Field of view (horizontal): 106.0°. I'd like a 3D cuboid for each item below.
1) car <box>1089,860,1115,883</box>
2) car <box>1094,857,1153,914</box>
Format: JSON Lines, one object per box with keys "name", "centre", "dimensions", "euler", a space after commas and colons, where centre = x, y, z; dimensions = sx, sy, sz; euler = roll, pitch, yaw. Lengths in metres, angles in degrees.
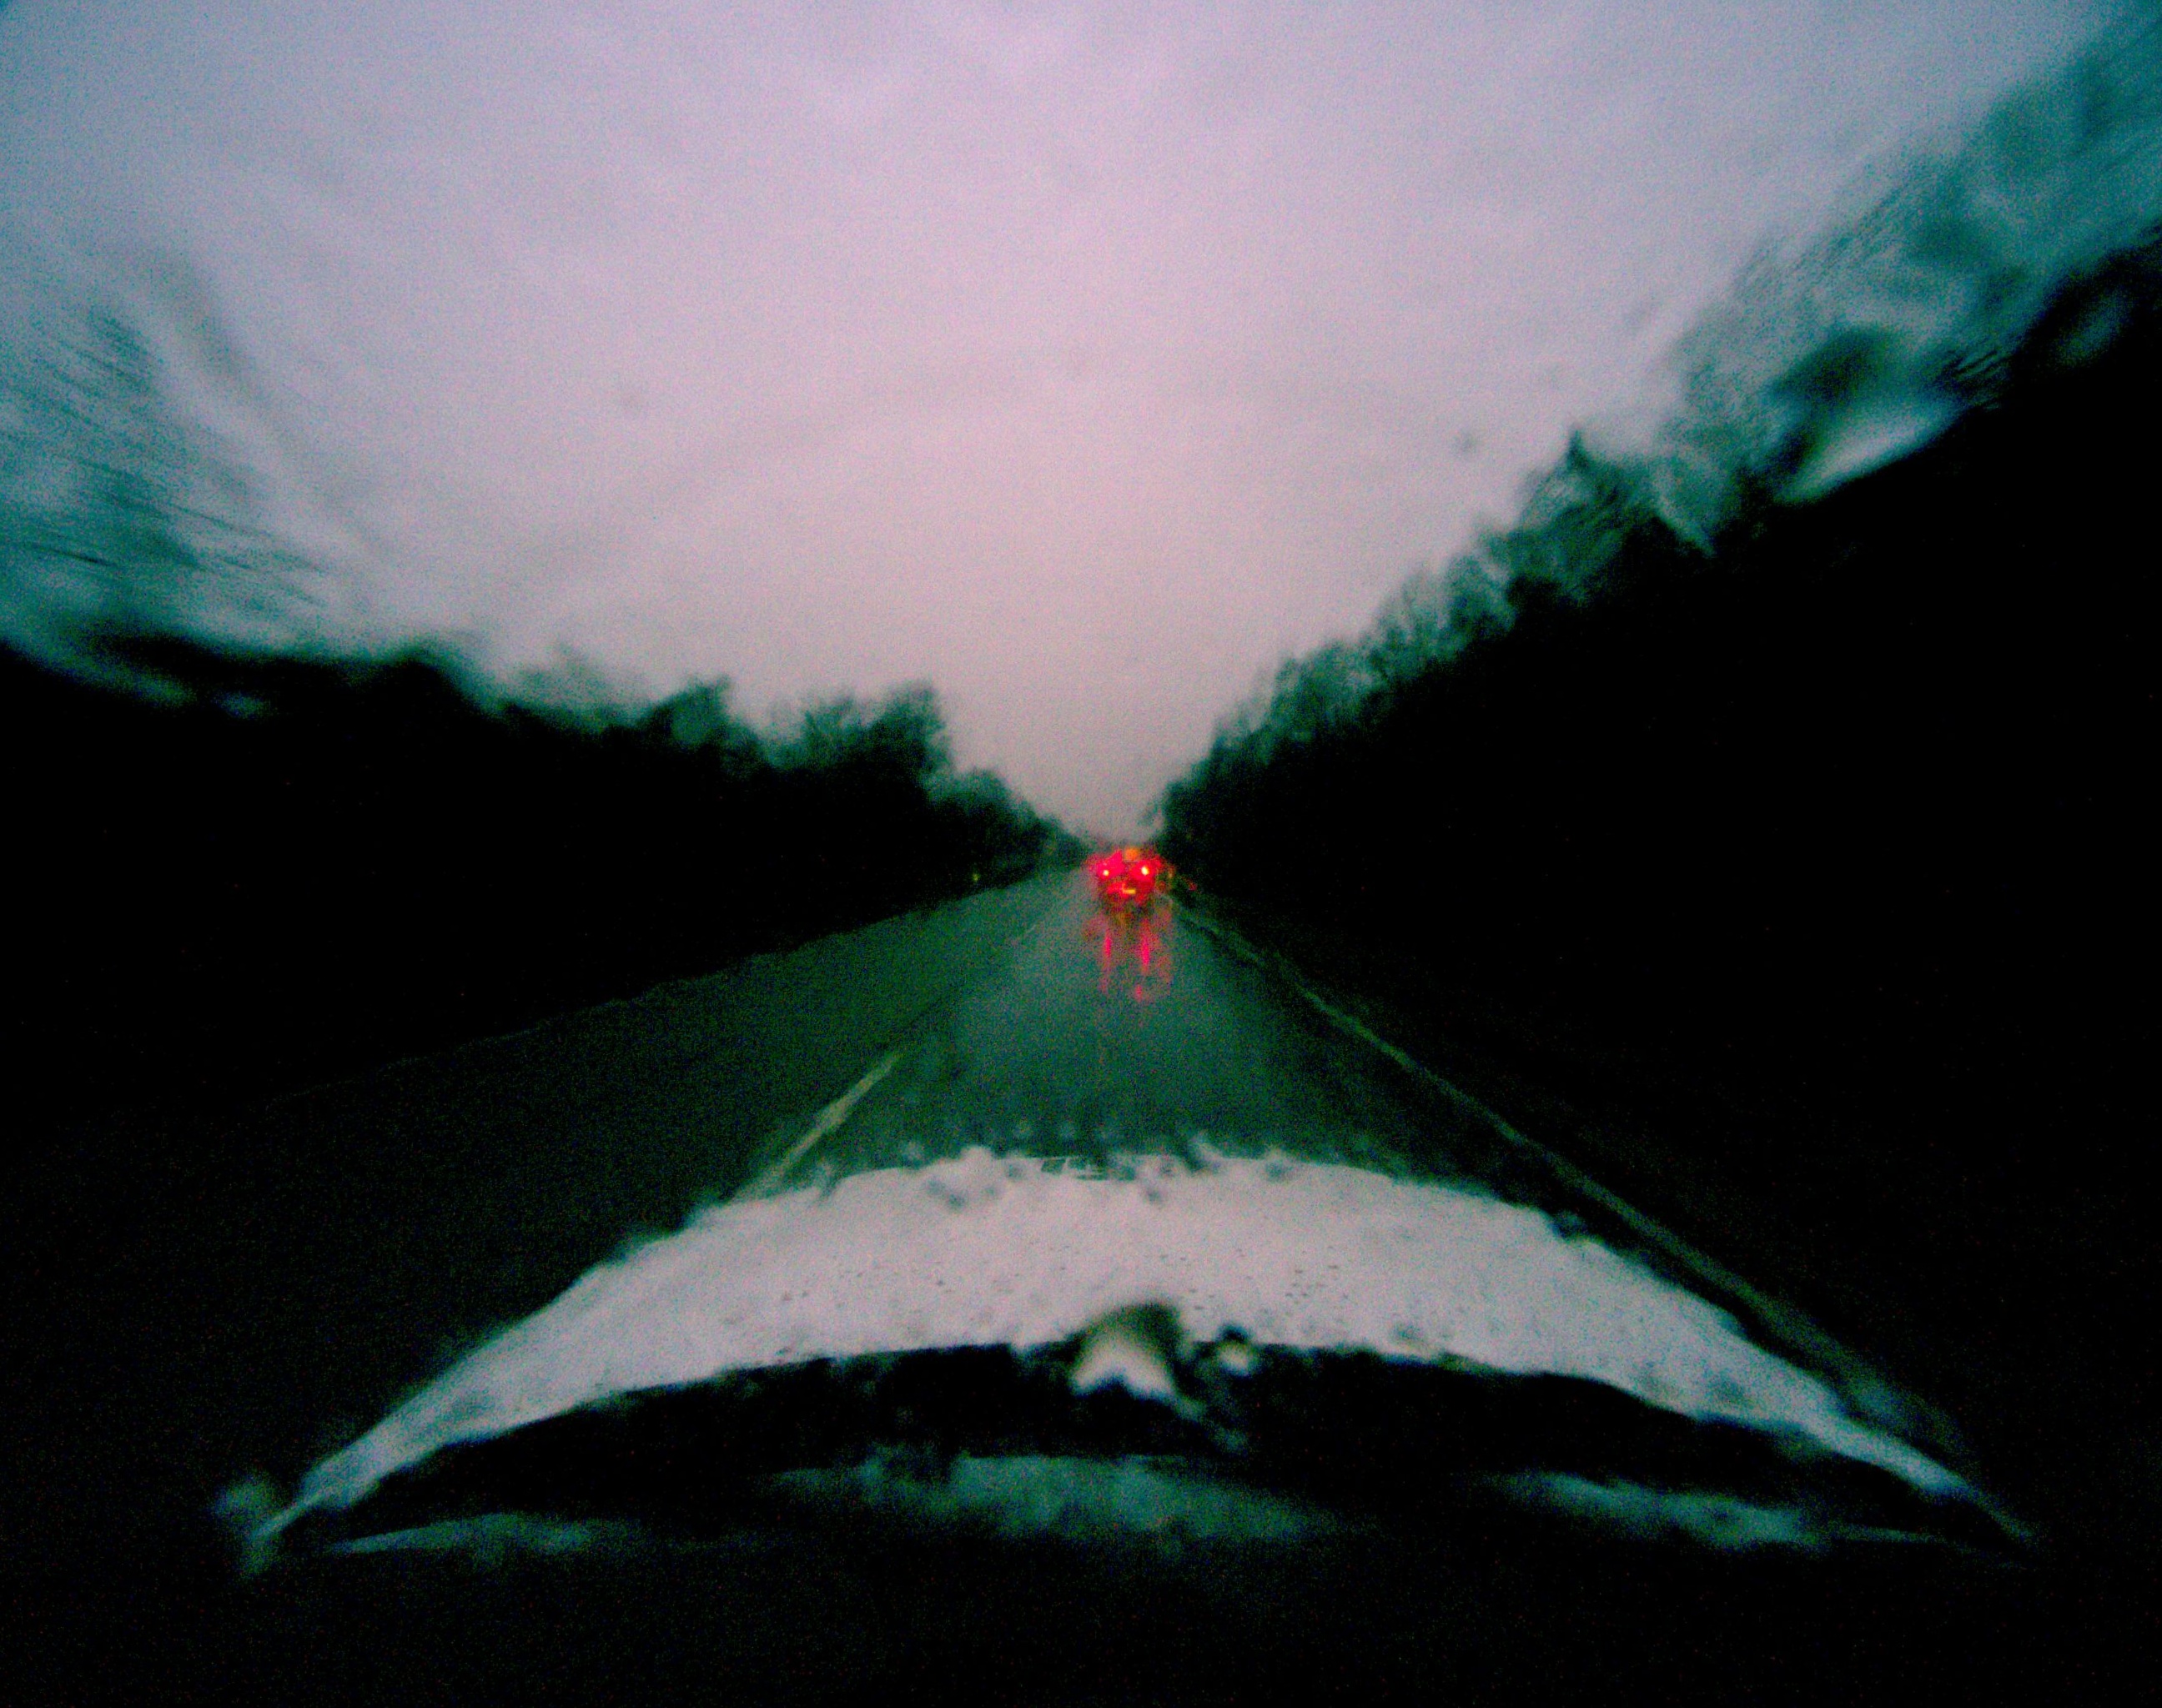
{"name": "car", "centre": [1.578, 1.296, 60.335], "dimensions": [1.720, 1.643, 4.003], "euler": [-1, -1, 3]}
{"name": "car", "centre": [1.364, 0.957, 25.977], "dimensions": [1.720, 1.643, 4.003], "euler": [-1, -1, 3]}
